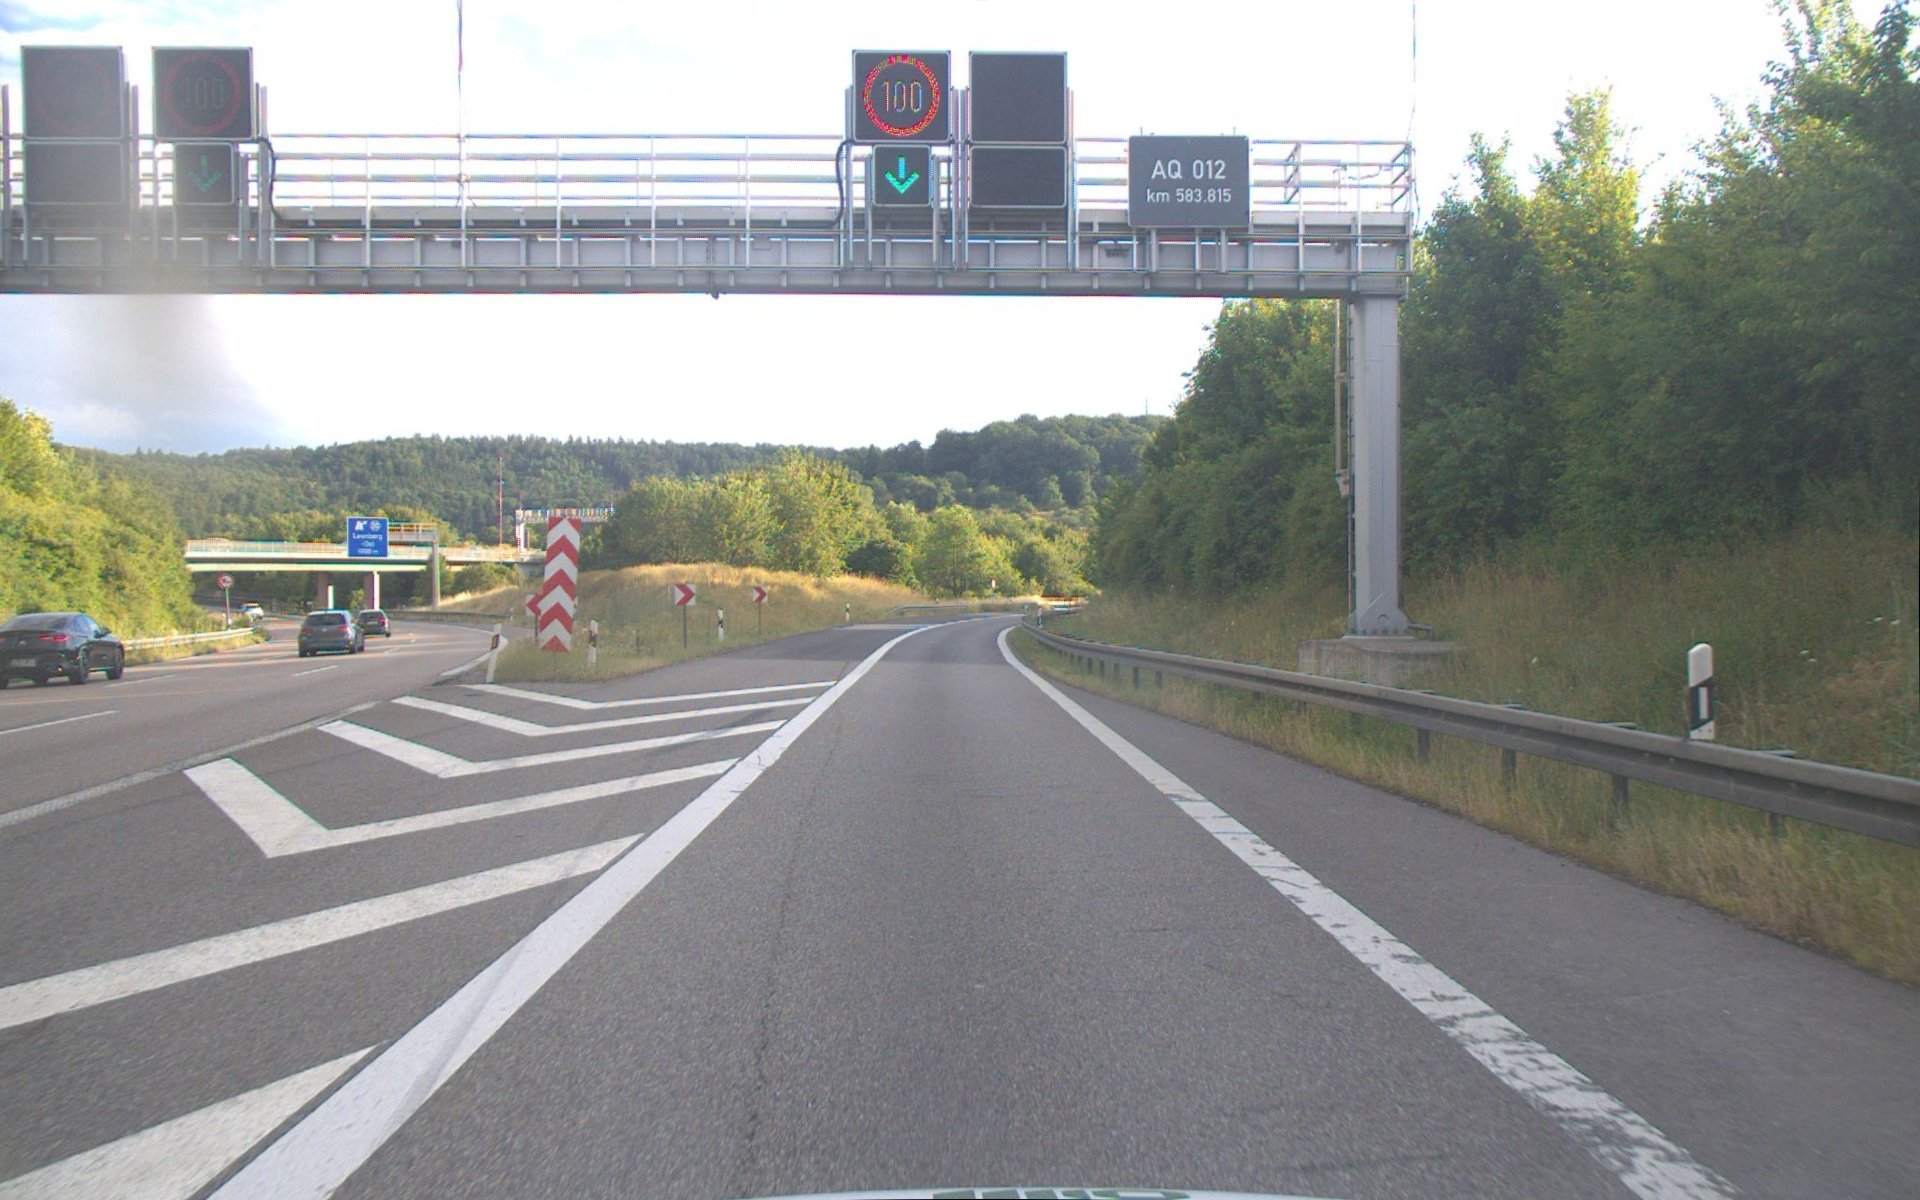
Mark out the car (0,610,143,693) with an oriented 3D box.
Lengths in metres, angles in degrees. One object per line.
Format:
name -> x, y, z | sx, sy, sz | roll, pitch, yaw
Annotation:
car -> -20.005, 1.111, 36.964 | 1.798, 1.663, 3.994 | -4, 0, -7

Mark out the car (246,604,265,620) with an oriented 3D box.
car -> -71.347, 1.228, 167.488 | 1.715, 1.492, 3.611 | -2, 0, -24

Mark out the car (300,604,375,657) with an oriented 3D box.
car -> -20.222, 0.963, 53.872 | 1.709, 1.492, 3.773 | -5, 1, -14

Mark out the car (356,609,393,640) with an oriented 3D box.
car -> -30.518, 1.288, 86.252 | 1.579, 1.492, 3.510 | -3, 0, -17
